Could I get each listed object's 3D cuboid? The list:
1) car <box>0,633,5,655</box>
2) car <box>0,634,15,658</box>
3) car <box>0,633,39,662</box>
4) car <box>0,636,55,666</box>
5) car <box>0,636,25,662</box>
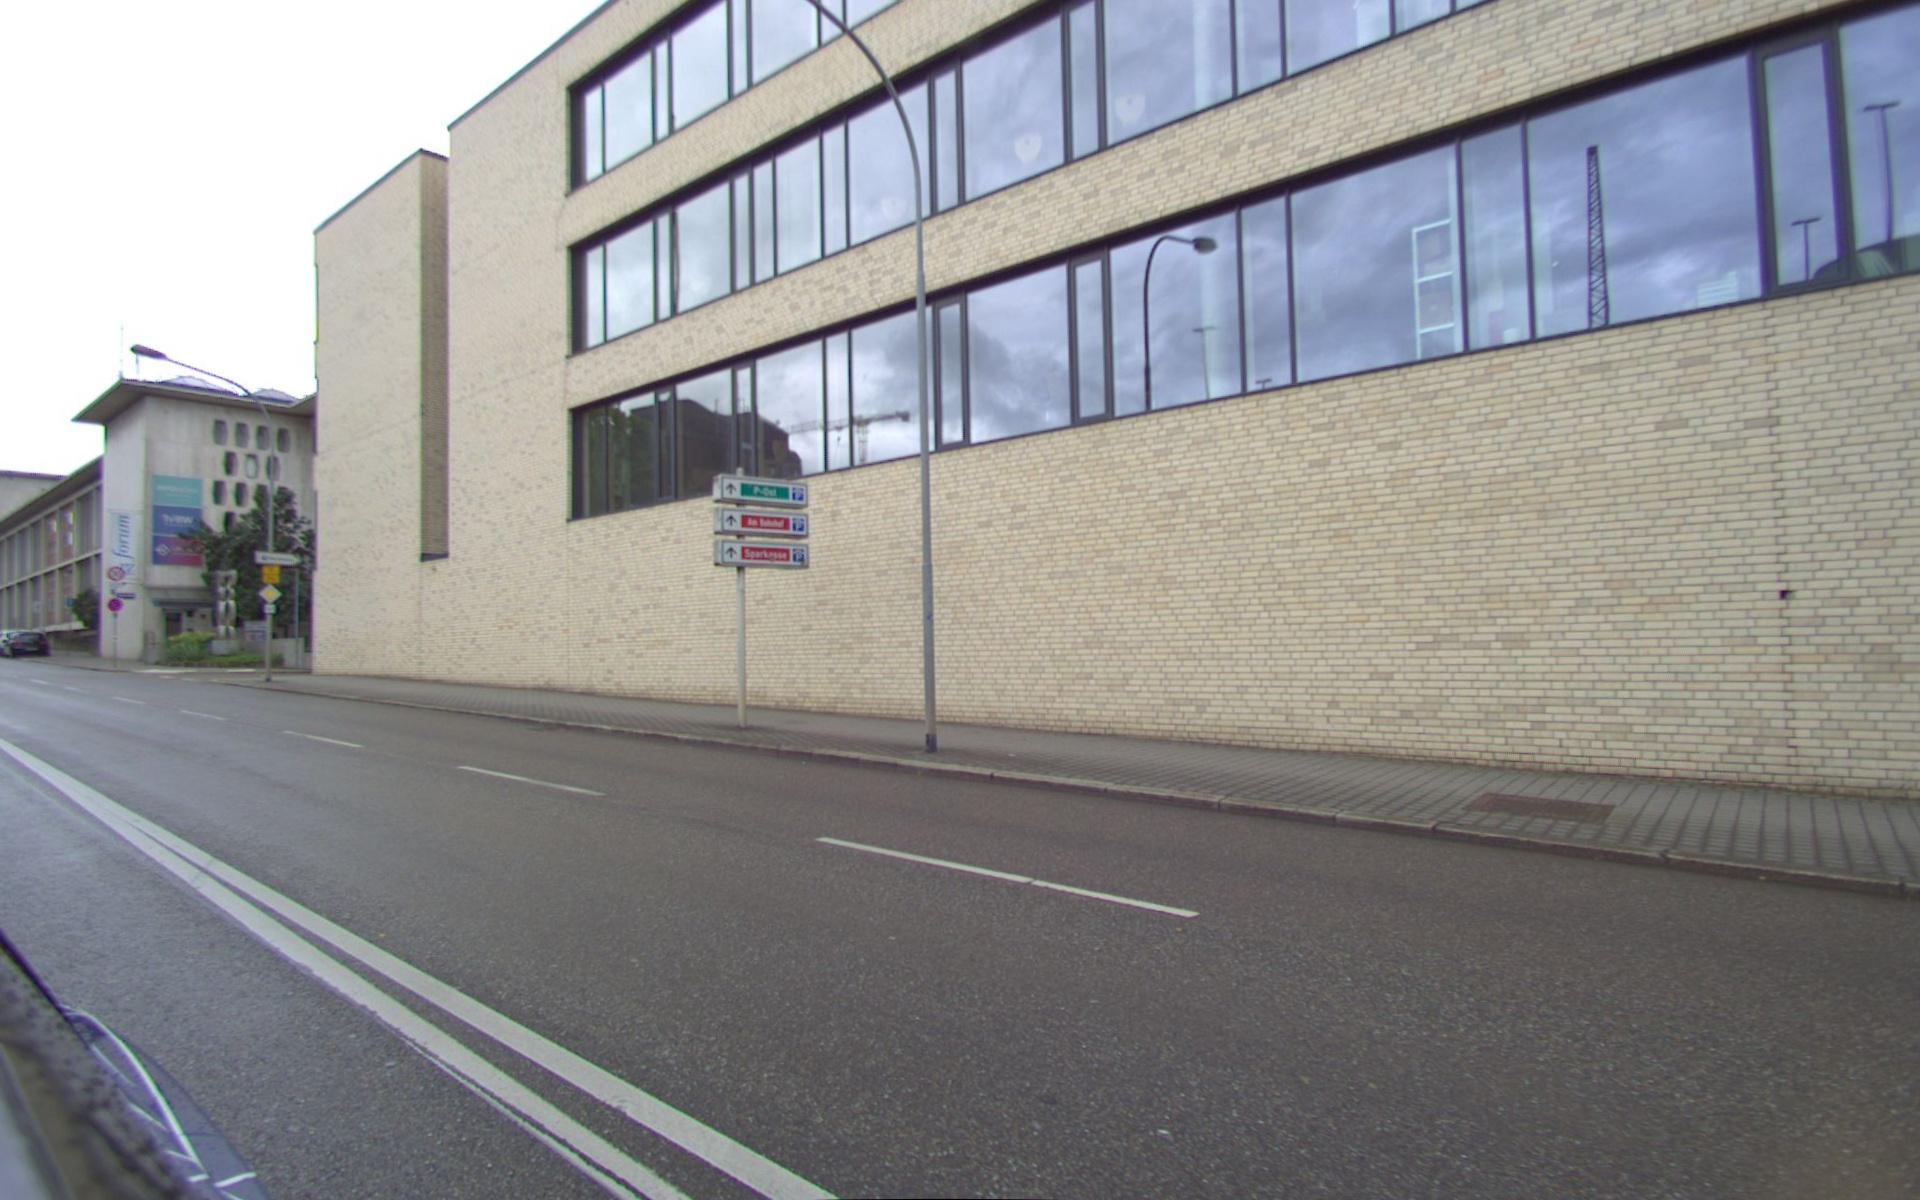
[{"bbox_3d":[-70.933,3.237,73.413,3.996,1.541,1.974,-1,0,40],"label":"car"},{"bbox_3d":[-66.211,3.163,69.106,4.183,1.502,1.973,-1,0,41],"label":"car"},{"bbox_3d":[-58.288,2.894,62.212,3.997,1.654,1.973,-1,0,40],"label":"car"},{"bbox_3d":[-54.260,2.934,58.741,3.996,1.541,1.974,-1,0,40],"label":"car"},{"bbox_3d":[-62.513,3.190,65.889,3.999,1.523,1.973,-1,0,42],"label":"car"}]
